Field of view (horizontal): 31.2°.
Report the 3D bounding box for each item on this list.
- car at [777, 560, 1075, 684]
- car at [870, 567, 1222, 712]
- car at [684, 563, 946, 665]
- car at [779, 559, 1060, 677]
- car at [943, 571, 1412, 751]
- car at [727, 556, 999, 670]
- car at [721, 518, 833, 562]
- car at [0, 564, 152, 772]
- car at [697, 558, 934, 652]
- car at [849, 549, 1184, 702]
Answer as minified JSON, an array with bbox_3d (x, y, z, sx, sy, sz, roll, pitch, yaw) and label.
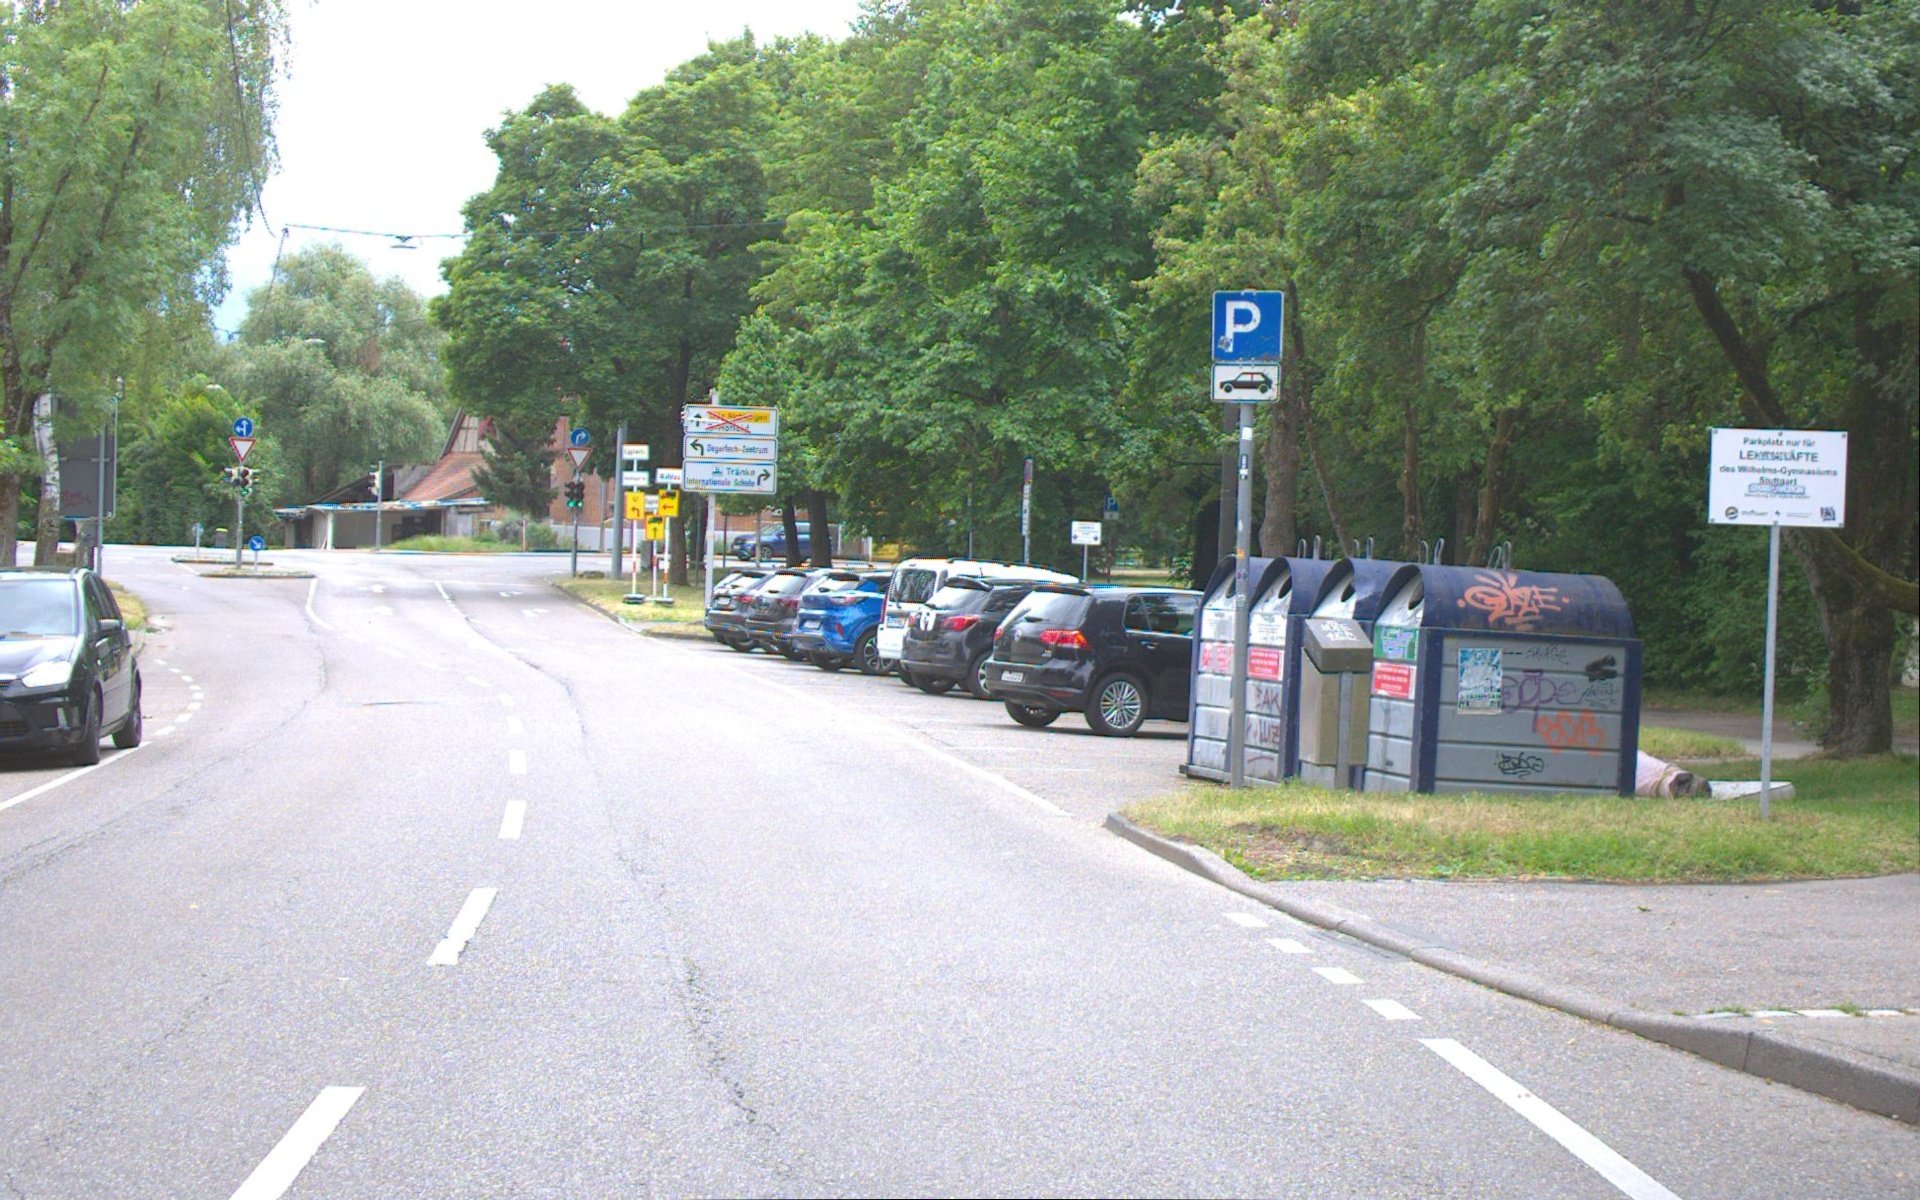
[{"bbox_3d":[-0.480,0.318,49.322,3.818,1.523,1.747,4,-1,-28],"label":"car"},{"bbox_3d":[1.055,0.487,41.909,3.818,1.463,1.747,4,0,-28],"label":"car"},{"bbox_3d":[-2.406,0.229,57.193,3.872,1.421,1.830,4,-1,-28],"label":"car"},{"bbox_3d":[-0.609,0.280,52.252,3.818,1.523,1.747,4,-1,-28],"label":"car"},{"bbox_3d":[2.123,0.596,33.593,3.986,1.409,2.058,4,1,-28],"label":"car"},{"bbox_3d":[-1.521,0.206,54.133,3.818,1.523,1.747,4,-1,-28],"label":"car"},{"bbox_3d":[-7.166,-2.345,134.577,3.844,1.641,2.000,1,2,-30],"label":"car"},{"bbox_3d":[-7.791,0.519,28.146,1.804,1.558,4.268,-2,1,-7],"label":"car"},{"bbox_3d":[-2.605,0.091,62.004,3.818,1.420,1.747,4,-1,-28],"label":"car"},{"bbox_3d":[0.740,0.333,44.663,3.818,1.714,1.878,4,-1,-28],"label":"car"}]
